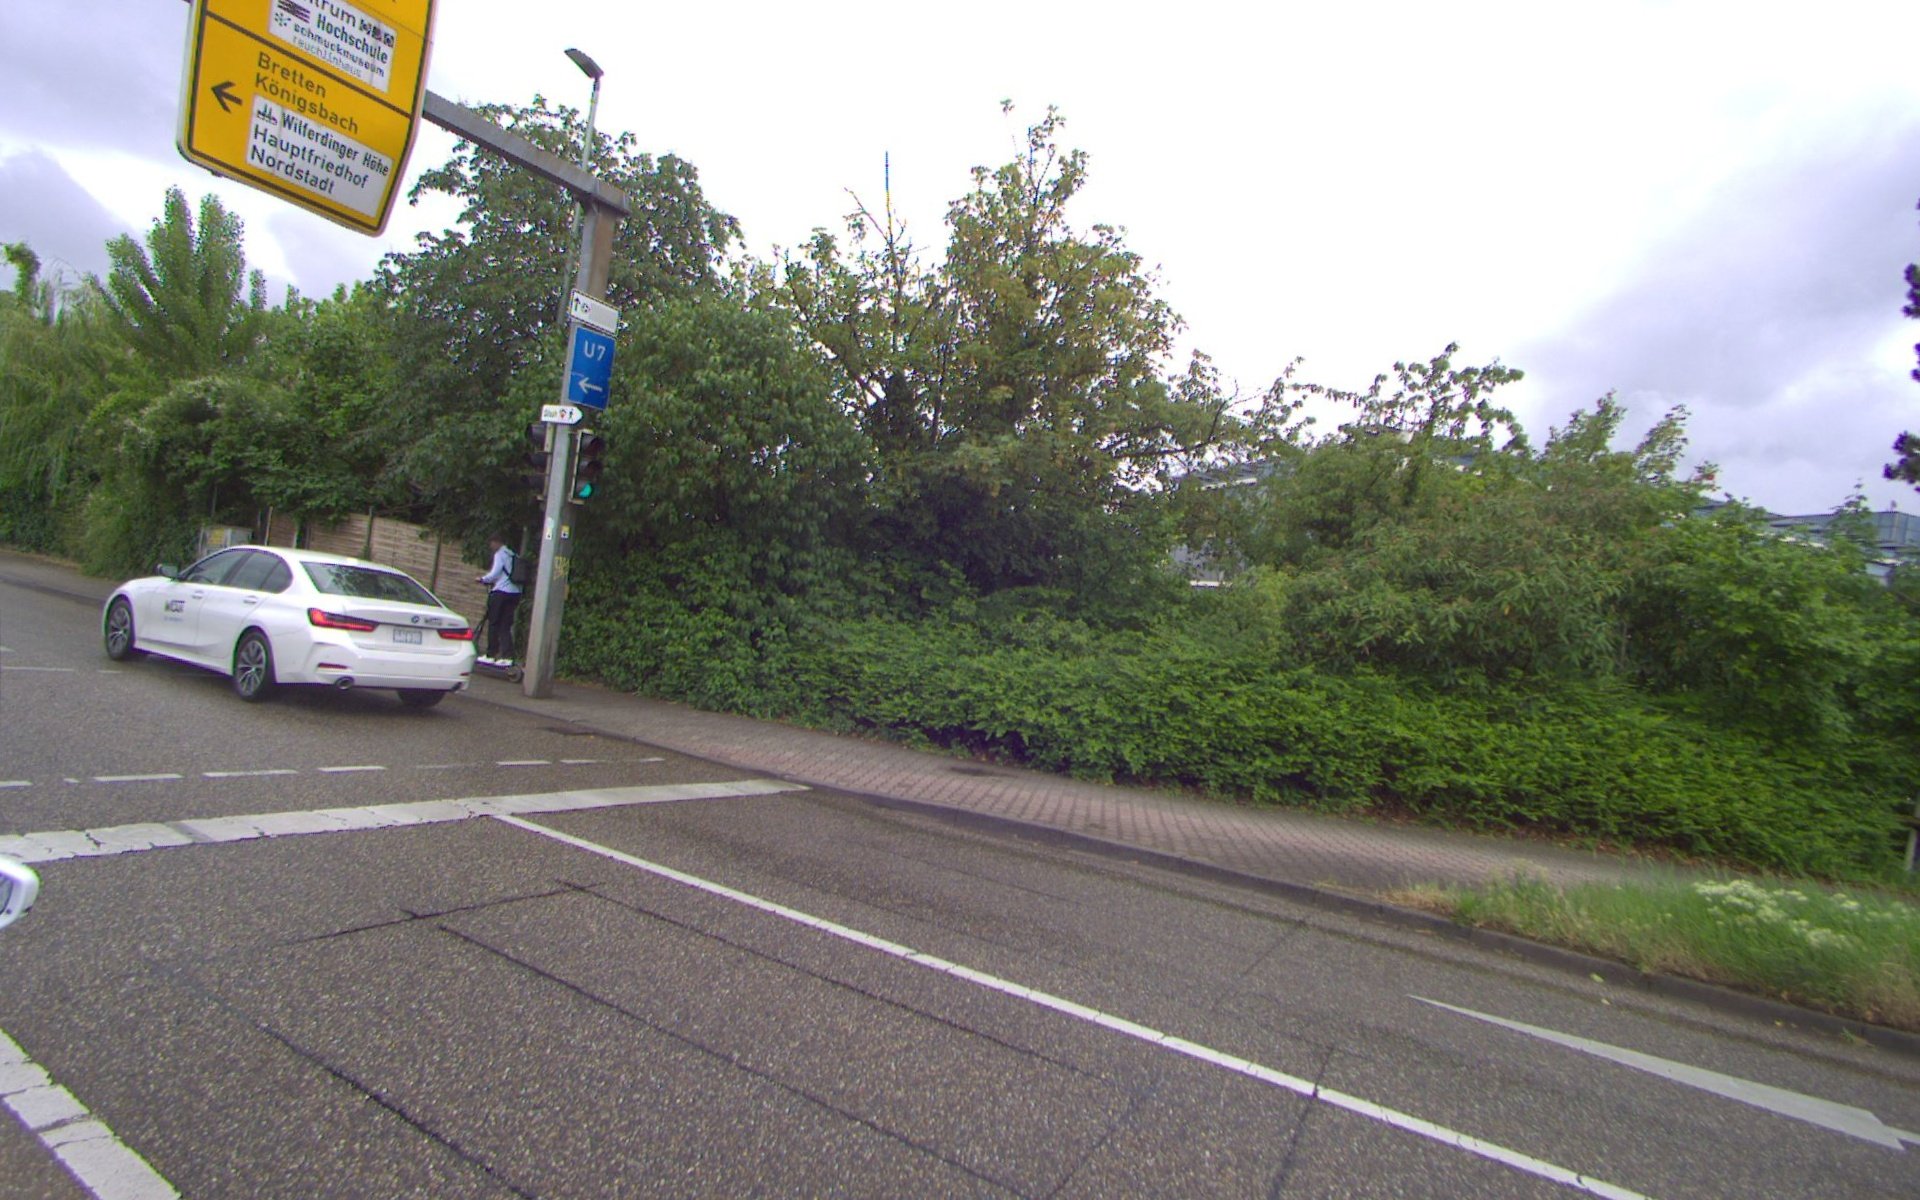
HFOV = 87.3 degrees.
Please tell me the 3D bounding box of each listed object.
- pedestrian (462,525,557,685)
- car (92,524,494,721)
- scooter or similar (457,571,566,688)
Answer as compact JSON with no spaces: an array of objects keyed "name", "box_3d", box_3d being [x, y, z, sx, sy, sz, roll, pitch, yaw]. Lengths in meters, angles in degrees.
[{"name":"pedestrian","box_3d":[-5.998,0.082,13.416,0.705,2.026,0.657,7,0,28]},{"name":"car","box_3d":[-7.013,0.199,10.476,4.232,1.443,1.669,7,-2,30]},{"name":"scooter or similar","box_3d":[-5.986,0.387,13.420,1.361,1.378,0.462,7,0,28]}]
